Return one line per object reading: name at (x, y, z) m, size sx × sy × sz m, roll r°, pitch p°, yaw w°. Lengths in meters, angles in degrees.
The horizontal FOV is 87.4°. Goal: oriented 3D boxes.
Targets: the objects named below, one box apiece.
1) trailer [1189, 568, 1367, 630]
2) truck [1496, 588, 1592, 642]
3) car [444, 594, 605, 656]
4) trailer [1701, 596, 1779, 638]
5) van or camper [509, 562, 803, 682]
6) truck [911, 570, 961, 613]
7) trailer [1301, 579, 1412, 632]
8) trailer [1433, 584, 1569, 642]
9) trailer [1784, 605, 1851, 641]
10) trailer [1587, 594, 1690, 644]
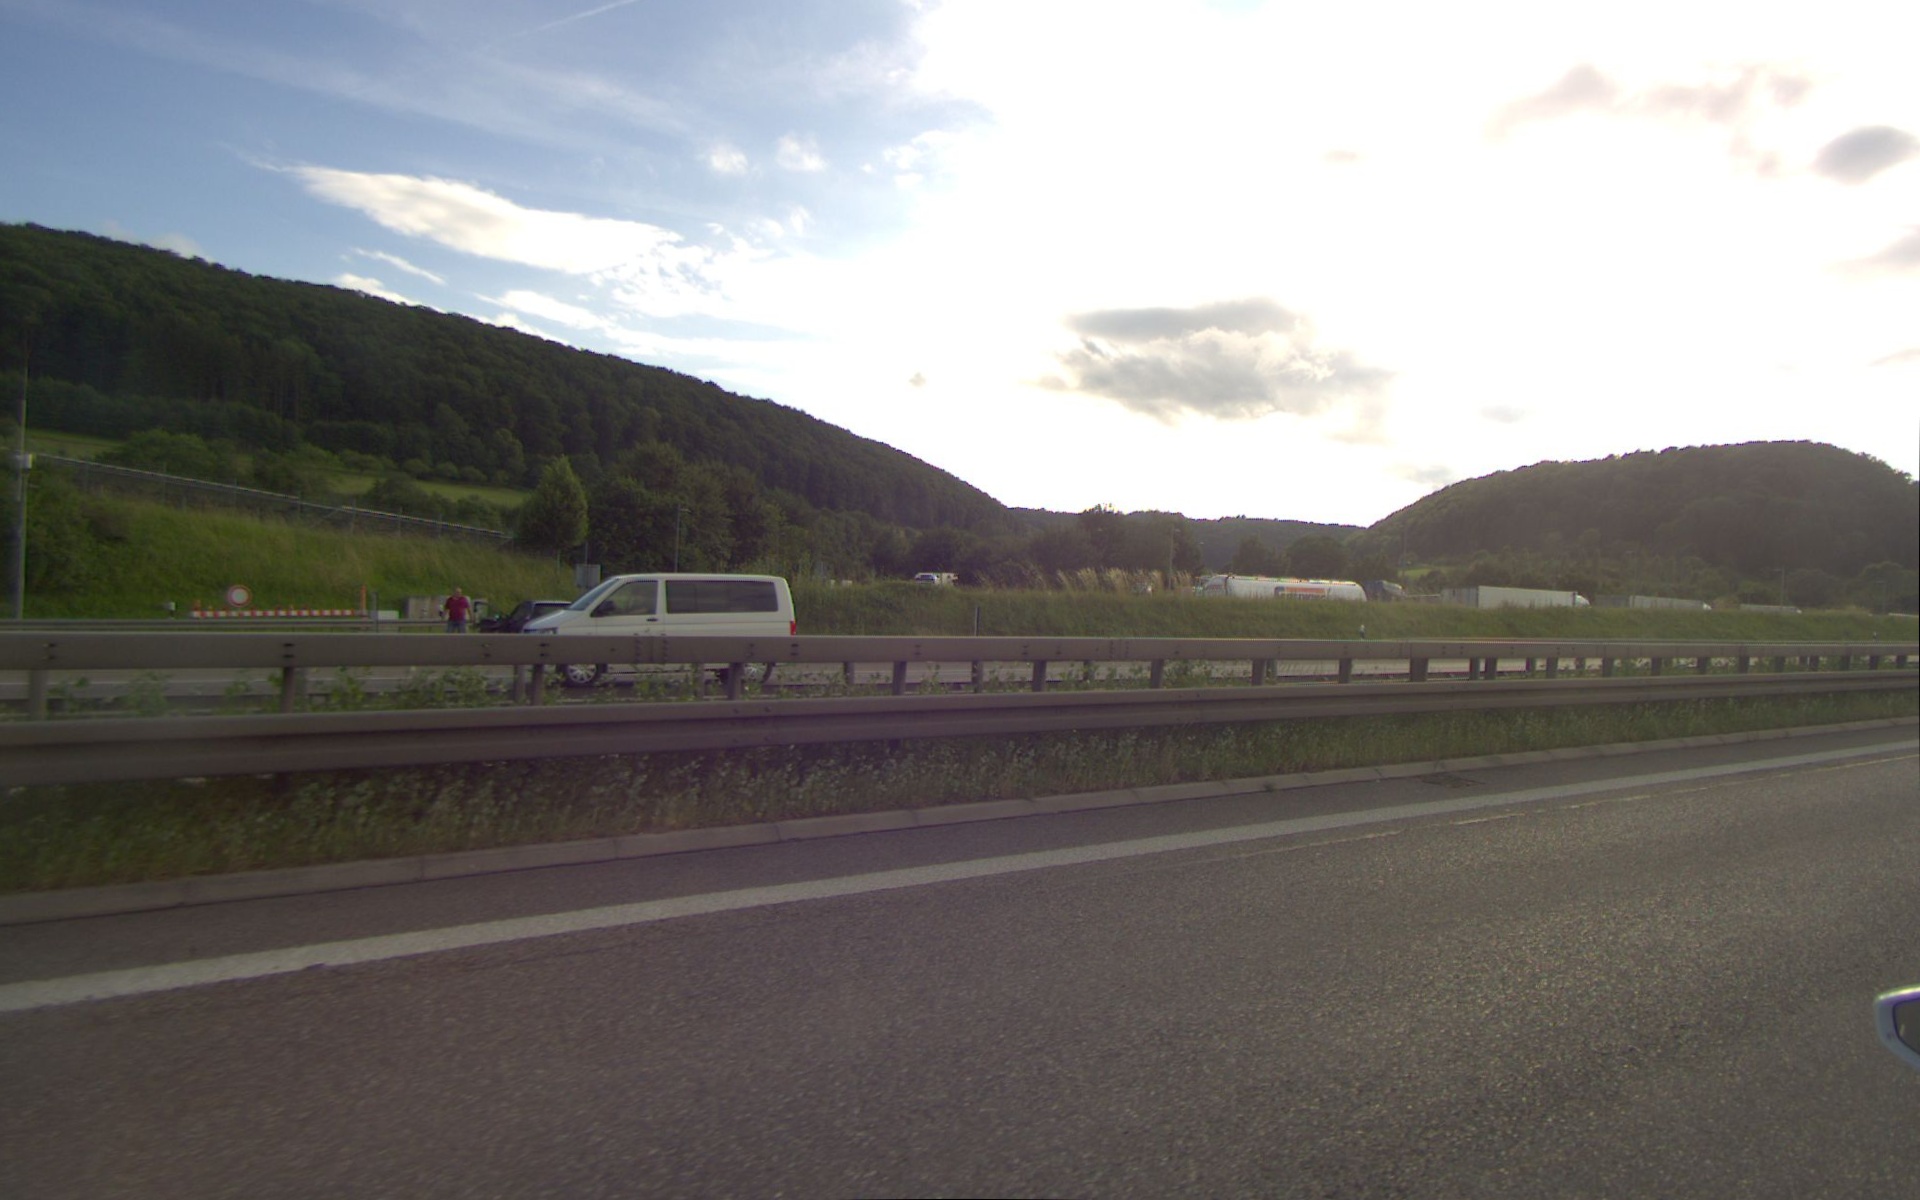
trailer at (18.377, 0.035, 57.423) m, size 12.134 × 2.891 × 2.563 m, roll 3°, pitch -1°, yaw -33°
truck at (43.331, 1.153, 74.429) m, size 8.406 × 3.739 × 2.863 m, roll 2°, pitch -2°, yaw -34°
car at (-12.002, 0.656, 27.582) m, size 4.543 × 1.572 × 1.994 m, roll 0°, pitch -1°, yaw 35°
trailer at (74.325, 1.685, 95.590) m, size 10.264 × 3.745 × 2.860 m, roll 2°, pitch -1°, yaw -34°
van or camper at (-5.364, 0.406, 17.940) m, size 4.700 × 1.898 × 1.906 m, roll 2°, pitch -1°, yaw -31°
truck at (-2.306, -0.768, 103.893) m, size 2.535 × 3.907 × 11.388 m, roll 2°, pitch -1°, yaw 12°
trailer at (24.304, 0.363, 61.412) m, size 7.229 × 2.891 × 2.596 m, roll 3°, pitch -1°, yaw -33°
trailer at (38.462, 1.027, 71.014) m, size 13.543 × 3.745 × 2.858 m, roll 2°, pitch -1°, yaw -36°
trailer at (92.448, 2.482, 108.207) m, size 10.264 × 3.745 × 2.860 m, roll 2°, pitch -1°, yaw -34°
trailer at (56.790, 1.664, 83.831) m, size 13.548 × 3.744 × 2.857 m, roll 3°, pitch -2°, yaw -37°
